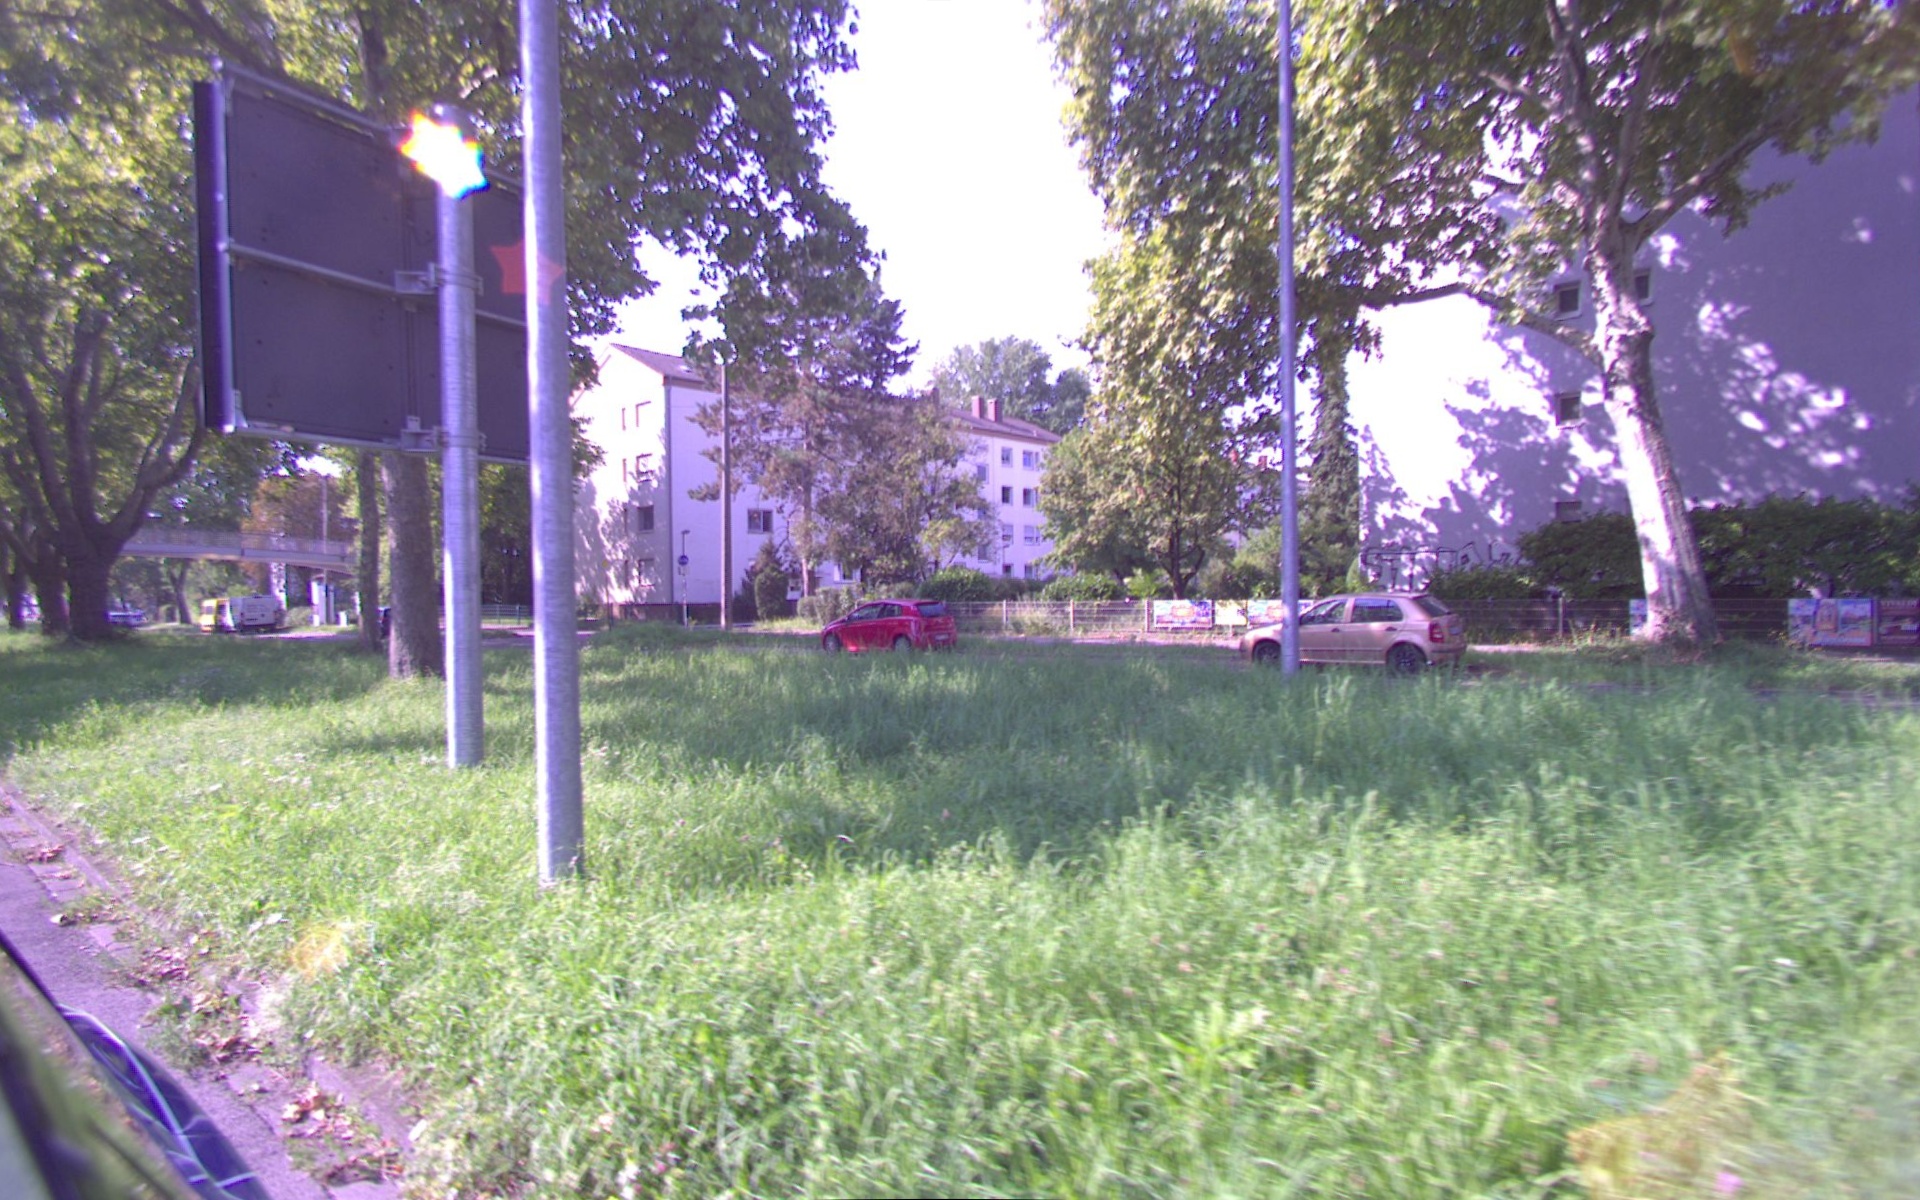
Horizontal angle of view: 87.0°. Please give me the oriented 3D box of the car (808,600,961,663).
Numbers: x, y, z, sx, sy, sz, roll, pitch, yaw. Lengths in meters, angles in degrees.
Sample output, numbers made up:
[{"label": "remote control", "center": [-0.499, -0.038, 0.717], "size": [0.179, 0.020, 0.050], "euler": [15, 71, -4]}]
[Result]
[{"label": "car", "center": [-1.993, 0.769, 25.908], "size": [4.063, 1.462, 1.522], "euler": [-1, 1, 42]}]

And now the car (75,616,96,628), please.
[{"label": "car", "center": [-115.902, 2.873, 134.055], "size": [4.458, 1.544, 1.767], "euler": [-1, 1, 45]}]

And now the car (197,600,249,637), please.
[{"label": "car", "center": [-53.644, 1.323, 73.587], "size": [2.182, 2.498, 6.065], "euler": [-2, 1, -44]}]

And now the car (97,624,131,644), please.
[{"label": "car", "center": [-76.909, 3.032, 91.997], "size": [4.719, 1.733, 1.783], "euler": [-1, -1, 42]}]

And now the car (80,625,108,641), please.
[{"label": "car", "center": [-91.591, 3.491, 107.059], "size": [4.067, 1.544, 1.673], "euler": [-1, 0, 41]}]

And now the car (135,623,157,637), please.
[{"label": "car", "center": [-94.809, 3.528, 117.845], "size": [1.626, 1.490, 3.902], "euler": [-2, 1, -44]}]

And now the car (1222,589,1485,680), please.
[{"label": "car", "center": [7.034, 0.584, 18.316], "size": [4.063, 1.441, 1.783], "euler": [-1, 0, 42]}]

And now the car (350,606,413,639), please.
[{"label": "car", "center": [-28.466, 1.098, 49.749], "size": [3.862, 1.544, 1.506], "euler": [0, 0, 41]}]

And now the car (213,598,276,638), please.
[{"label": "car", "center": [-48.103, 1.208, 67.981], "size": [6.266, 2.448, 2.184], "euler": [-1, 3, 43]}]
